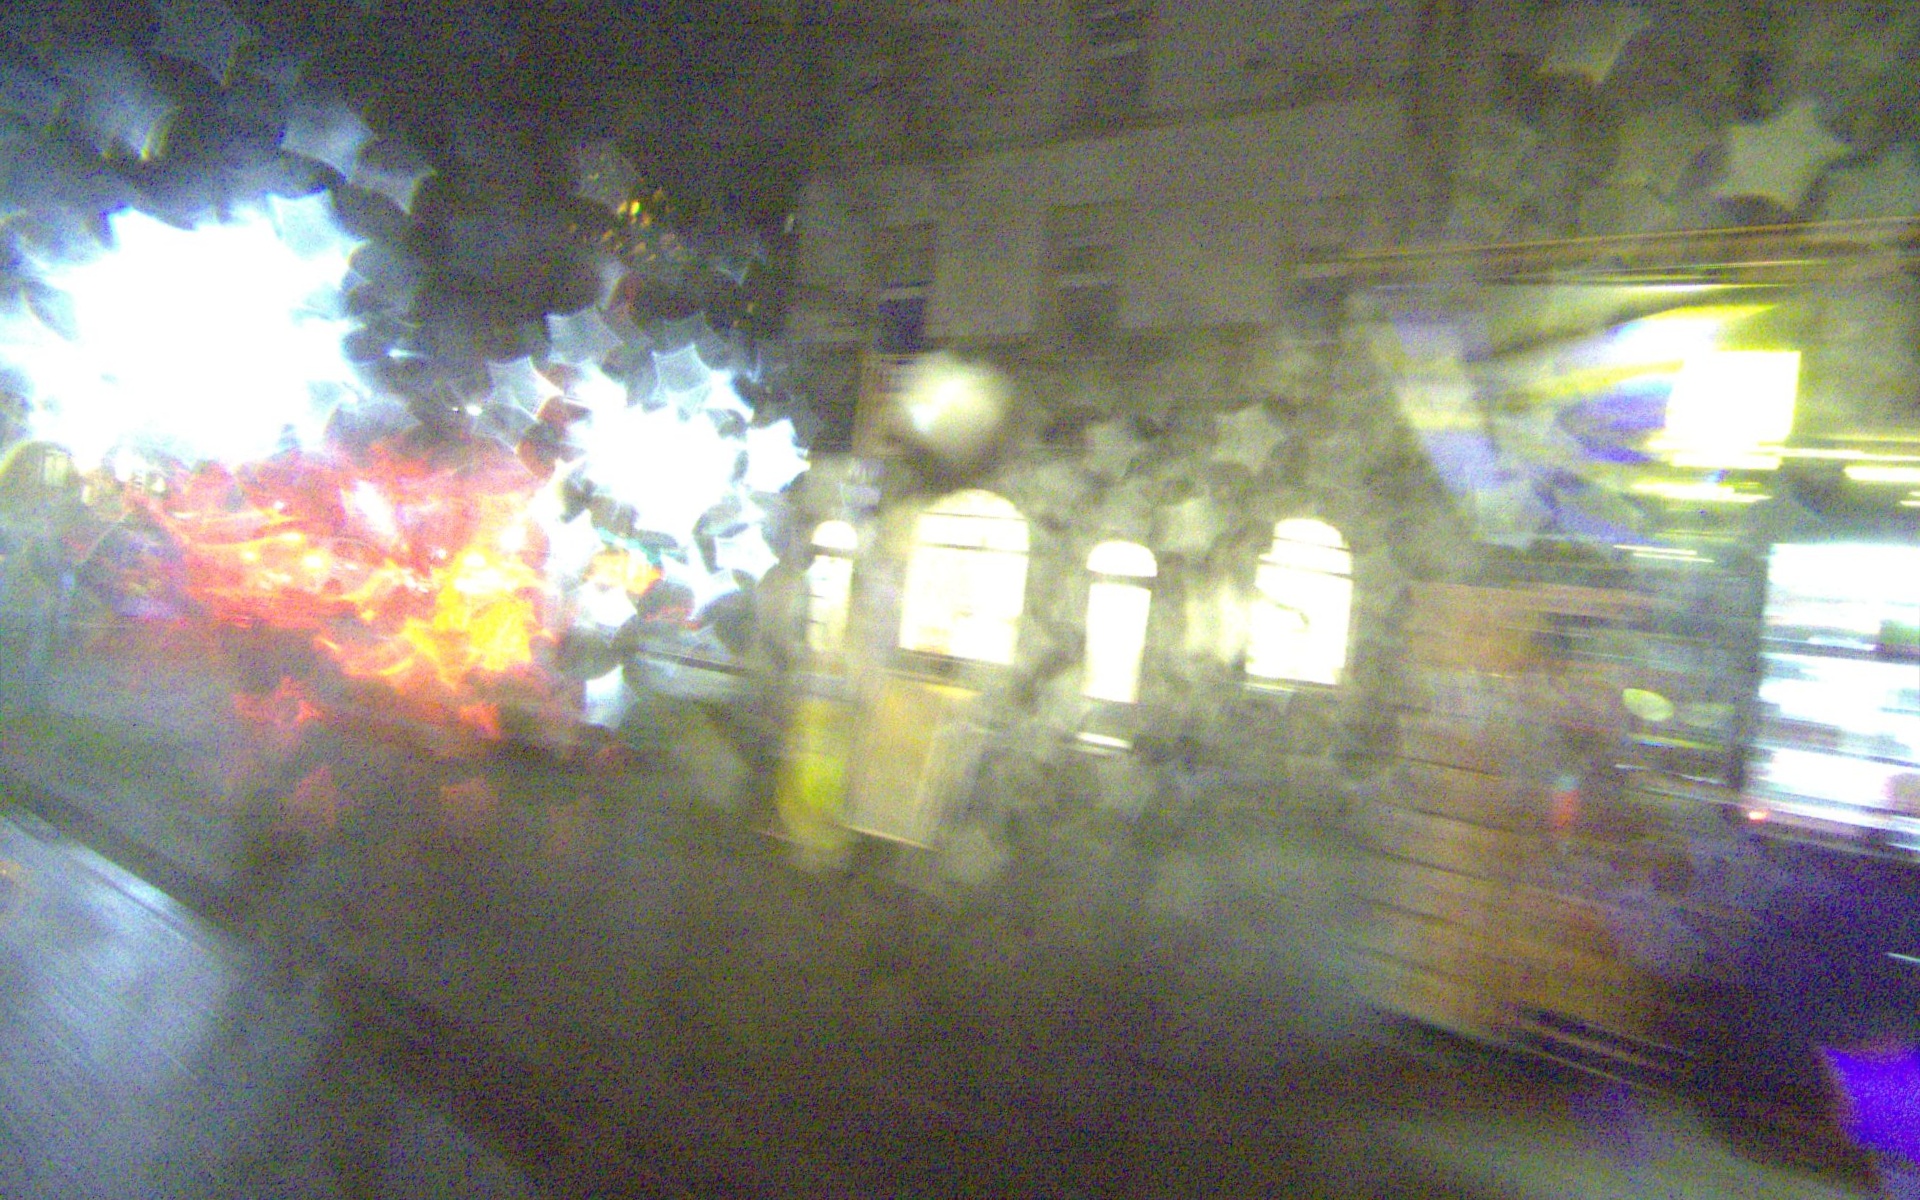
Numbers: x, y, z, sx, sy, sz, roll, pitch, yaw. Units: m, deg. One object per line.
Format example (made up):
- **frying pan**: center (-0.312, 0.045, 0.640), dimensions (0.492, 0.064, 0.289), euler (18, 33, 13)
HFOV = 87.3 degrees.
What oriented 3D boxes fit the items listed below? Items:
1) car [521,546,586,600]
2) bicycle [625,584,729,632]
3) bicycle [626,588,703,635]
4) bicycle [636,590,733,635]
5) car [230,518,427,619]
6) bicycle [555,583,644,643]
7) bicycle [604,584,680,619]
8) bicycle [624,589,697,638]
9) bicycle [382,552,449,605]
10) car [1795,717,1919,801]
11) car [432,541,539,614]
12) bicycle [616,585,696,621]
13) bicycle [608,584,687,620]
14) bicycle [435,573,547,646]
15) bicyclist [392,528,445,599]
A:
- **car**: center (-16.138, -1.044, 39.840), dimensions (1.977, 1.747, 3.977), euler (9, -3, -25)
- **bicycle**: center (-8.247, 0.236, 29.394), dimensions (2.728, 1.039, 0.724), euler (7, 0, -7)
- **bicycle**: center (-8.169, 0.323, 27.874), dimensions (1.903, 1.072, 0.450), euler (7, 1, -7)
- **bicycle**: center (-8.588, 0.391, 31.467), dimensions (2.728, 1.039, 0.724), euler (7, 0, -7)
- **car**: center (-13.364, -0.591, 21.549), dimensions (1.704, 1.631, 3.466), euler (8, -3, 4)
- **bicycle**: center (-7.709, 0.271, 21.562), dimensions (1.633, 1.072, 0.450), euler (7, 1, -2)
- **bicycle**: center (-12.660, 0.058, 40.097), dimensions (2.746, 1.039, 0.719), euler (8, 0, -30)
- **bicycle**: center (-7.927, 0.358, 26.638), dimensions (1.704, 1.072, 0.450), euler (7, 1, -2)
- **bicycle**: center (-14.136, -0.538, 26.178), dimensions (0.763, 1.161, 1.717), euler (8, -3, -4)
- **car**: center (24.920, 4.306, 27.707), dimensions (1.968, 1.764, 4.687), euler (7, -1, 30)
- **car**: center (-14.167, -0.606, 30.276), dimensions (1.969, 1.747, 3.992), euler (8, -3, -14)
- **bicycle**: center (-11.443, 0.121, 37.933), dimensions (2.751, 1.039, 0.718), euler (8, 0, -35)
- **bicycle**: center (-12.110, 0.086, 39.042), dimensions (2.746, 1.039, 0.719), euler (8, 0, -30)
- **bicycle**: center (-8.181, 0.169, 17.590), dimensions (1.633, 1.072, 0.450), euler (7, 1, -2)
- **bicyclist**: center (-14.081, -0.937, 26.185), dimensions (0.785, 1.694, 0.708), euler (8, -2, -4)
